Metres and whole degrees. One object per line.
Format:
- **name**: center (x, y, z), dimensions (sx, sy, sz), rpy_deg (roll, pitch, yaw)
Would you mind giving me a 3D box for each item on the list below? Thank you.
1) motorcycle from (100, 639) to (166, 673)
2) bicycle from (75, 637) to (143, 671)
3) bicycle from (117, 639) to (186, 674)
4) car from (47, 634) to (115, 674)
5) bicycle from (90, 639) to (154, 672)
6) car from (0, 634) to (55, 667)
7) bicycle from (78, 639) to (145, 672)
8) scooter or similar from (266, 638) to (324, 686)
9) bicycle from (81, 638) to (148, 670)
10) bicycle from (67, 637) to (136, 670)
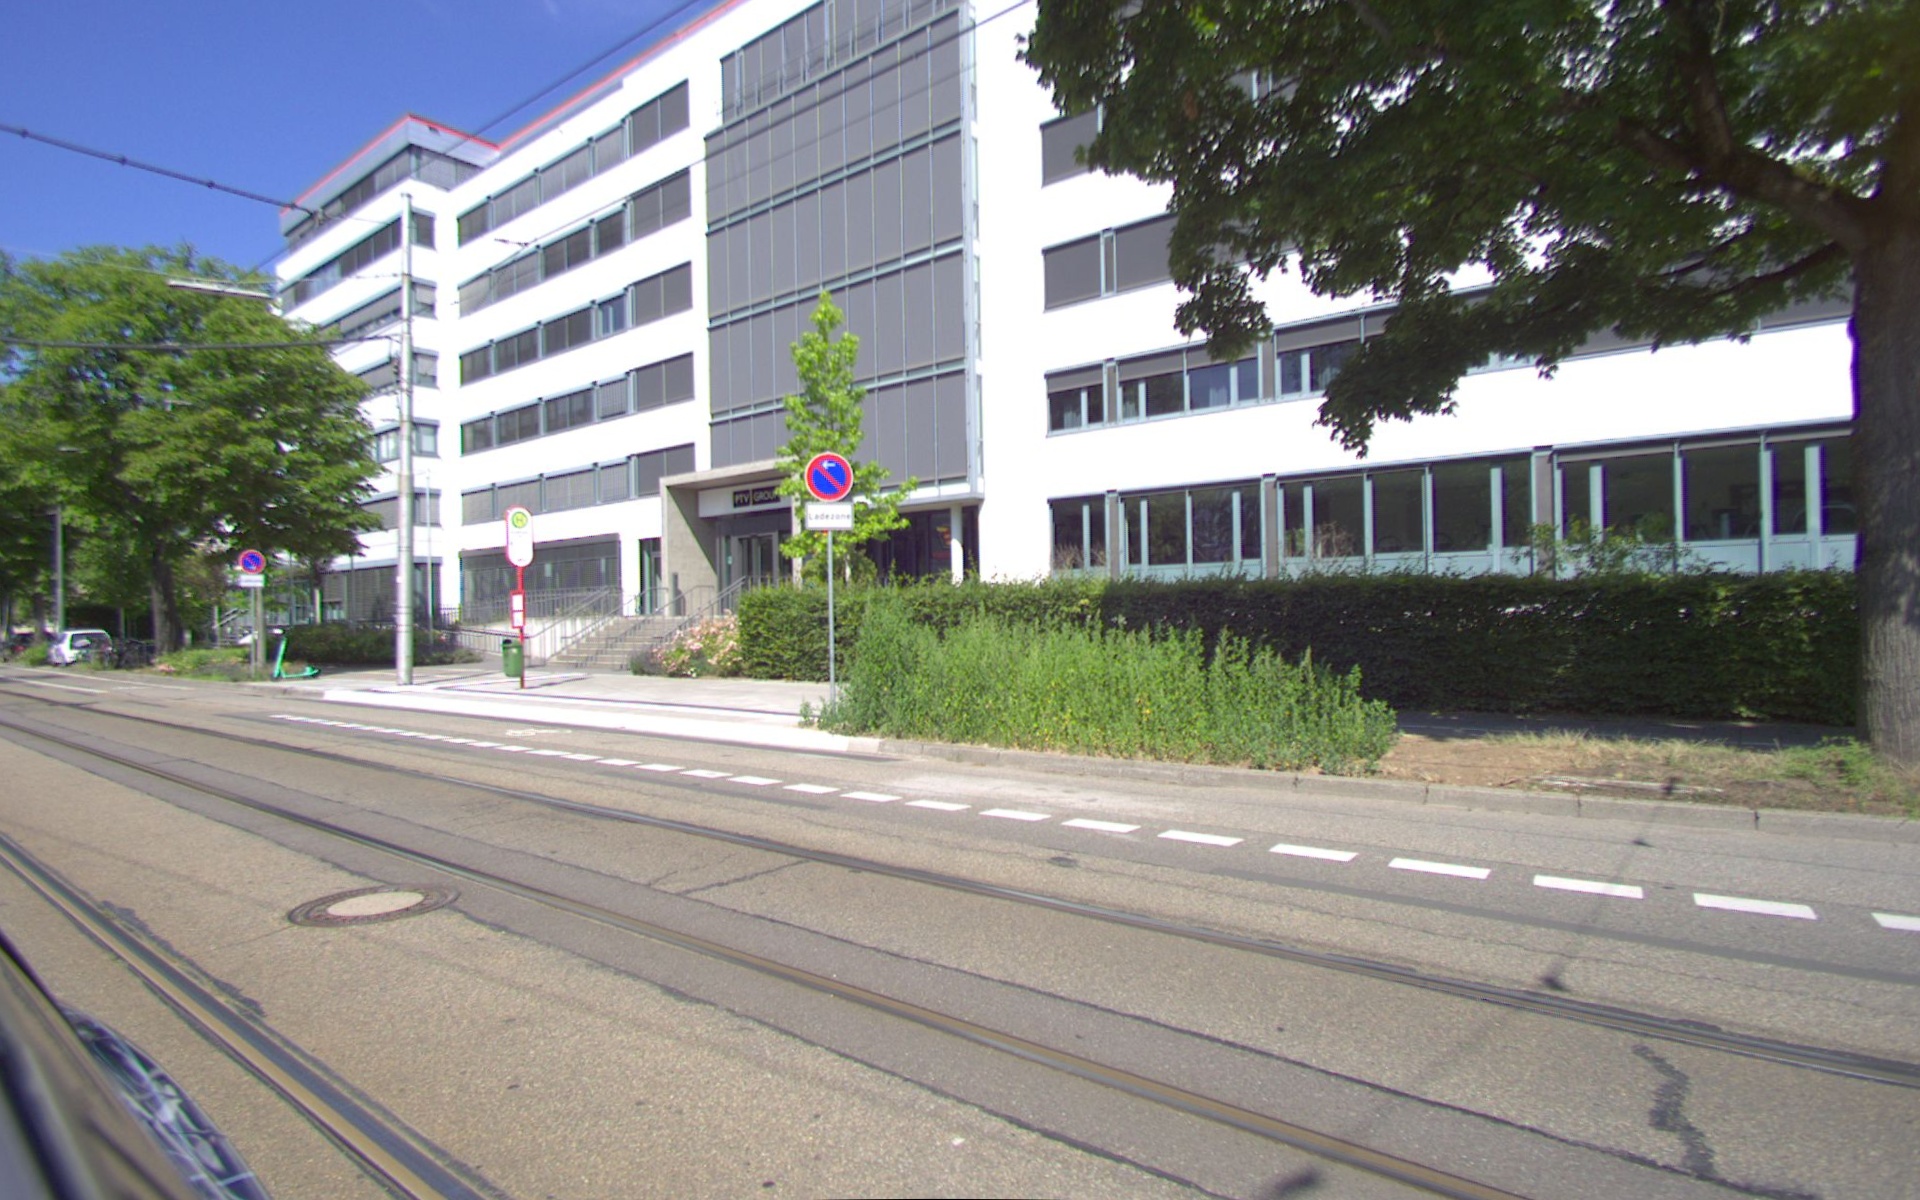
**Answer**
- **motorcycle**: center (-29.325, 1.968, 35.915), dimensions (0.658, 1.094, 1.707), rpy_deg (-2, -1, 39)
- **bicycle**: center (-32.041, 2.018, 38.107), dimensions (0.685, 1.150, 1.854), rpy_deg (-2, -1, 39)
- **bicycle**: center (-27.582, 1.927, 34.556), dimensions (0.788, 1.094, 1.707), rpy_deg (-2, -1, 39)
- **car**: center (-35.786, 2.170, 41.165), dimensions (3.628, 1.483, 1.613), rpy_deg (-2, -2, 41)
- **bicycle**: center (-30.436, 2.014, 36.764), dimensions (0.639, 1.094, 1.707), rpy_deg (-2, -1, 39)
- **car**: center (-45.274, 2.414, 48.855), dimensions (4.266, 1.494, 1.614), rpy_deg (-2, -2, 38)
- **bicycle**: center (-31.546, 2.050, 37.640), dimensions (0.680, 1.140, 1.831), rpy_deg (-2, -1, 39)
- **scooter or similar**: center (-17.258, 1.587, 26.274), dimensions (0.675, 1.175, 1.114), rpy_deg (-2, -1, 42)
- **bicycle**: center (-31.141, 1.964, 37.302), dimensions (0.726, 1.094, 1.775), rpy_deg (-2, -1, 39)
- **bicycle**: center (-32.603, 2.014, 38.439), dimensions (0.818, 1.178, 1.885), rpy_deg (-2, -1, 39)
